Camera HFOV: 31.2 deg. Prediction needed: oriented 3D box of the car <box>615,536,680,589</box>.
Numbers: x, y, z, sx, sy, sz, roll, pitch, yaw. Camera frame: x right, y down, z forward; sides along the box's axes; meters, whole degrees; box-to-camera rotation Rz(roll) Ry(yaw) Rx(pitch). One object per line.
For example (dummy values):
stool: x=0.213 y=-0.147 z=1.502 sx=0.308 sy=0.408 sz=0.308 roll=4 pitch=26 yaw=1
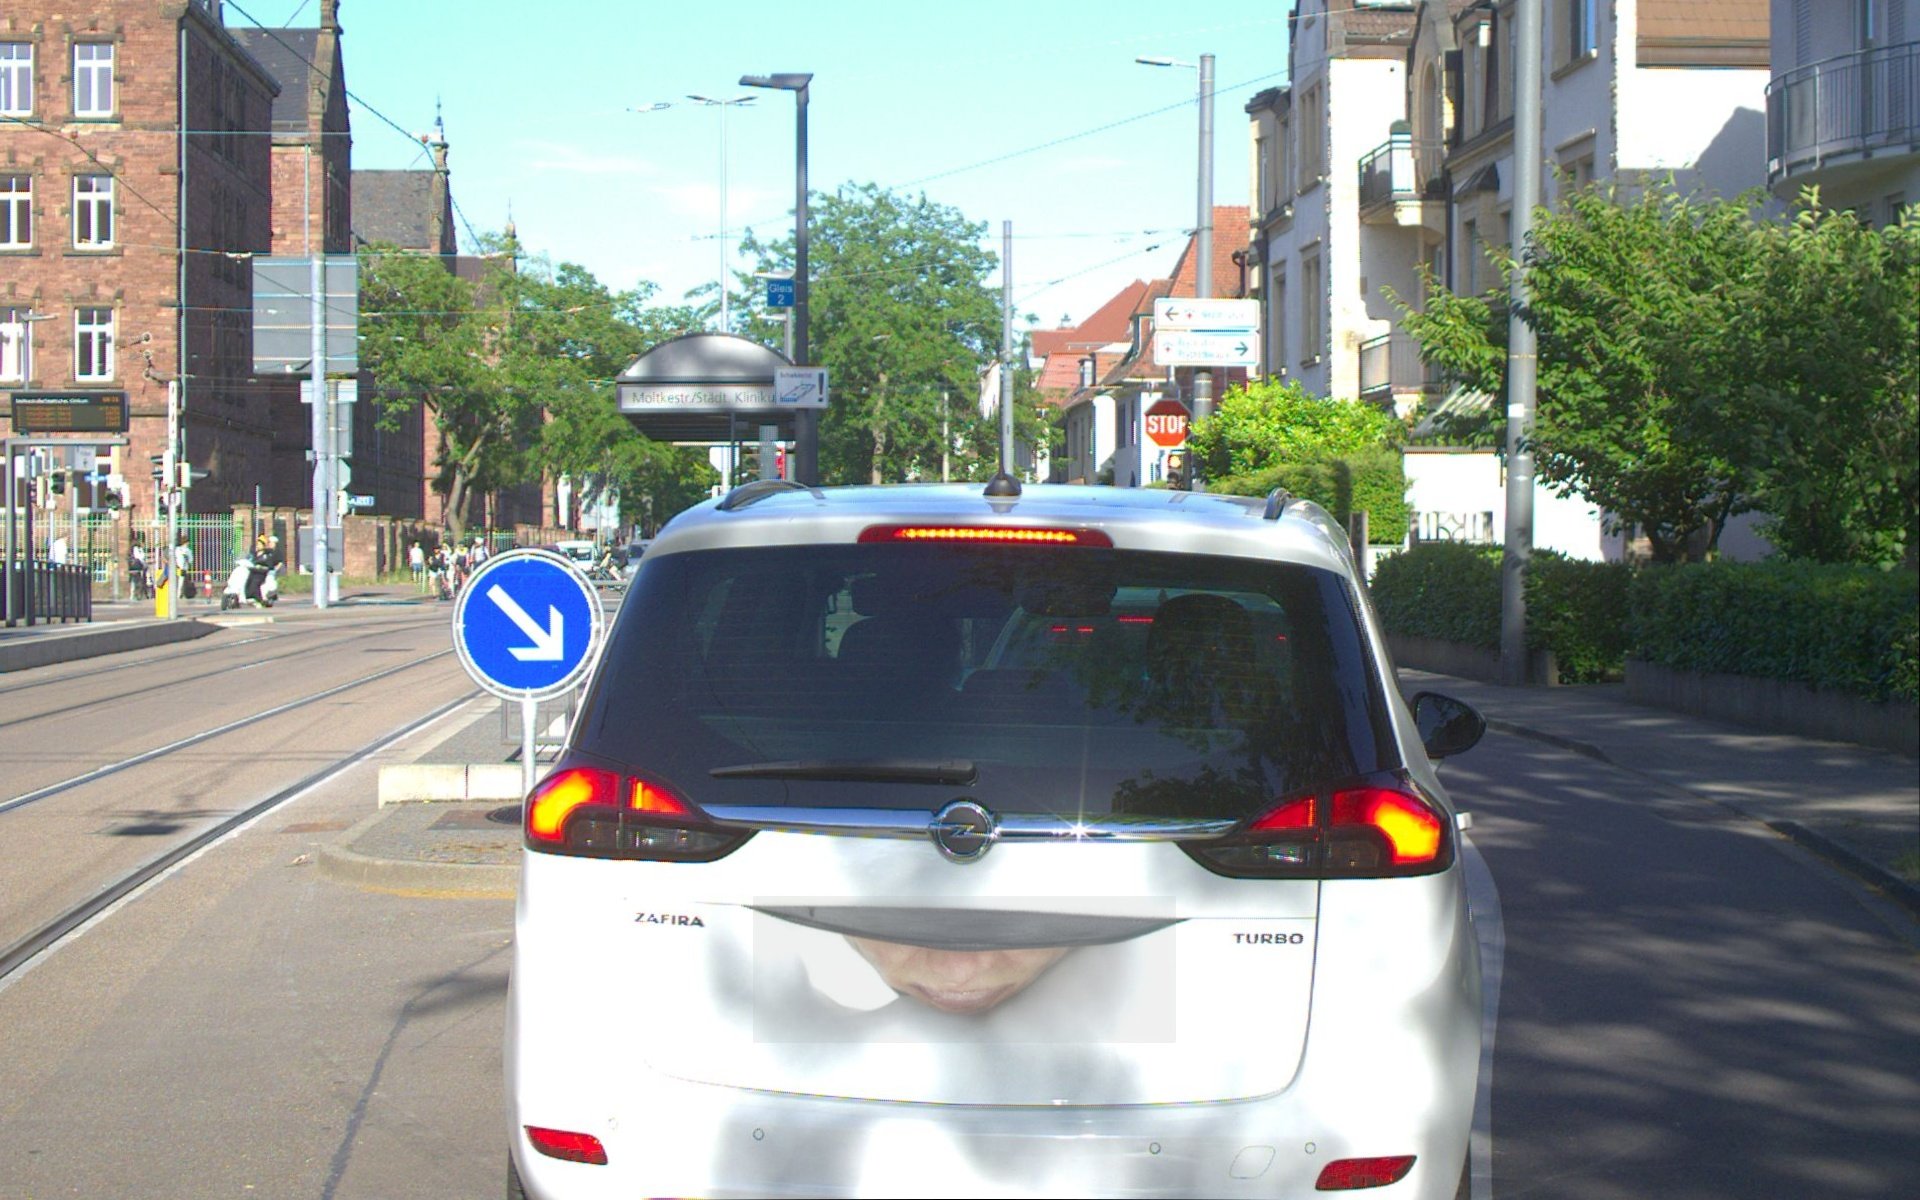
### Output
car: x=-9.736 y=-1.191 z=107.304 sx=1.993 sy=1.623 sz=4.001 roll=0 pitch=1 yaw=-5

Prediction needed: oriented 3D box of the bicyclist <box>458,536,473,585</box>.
bicyclist: x=-15.689 y=-1.248 z=109.144 sx=0.444 sy=1.548 sz=0.496 roll=0 pitch=1 yaw=-4

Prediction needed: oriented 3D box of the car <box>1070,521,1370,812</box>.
car: x=1.492 y=0.330 z=20.822 sx=1.637 sy=1.595 sz=3.854 roll=0 pitch=1 yaw=2

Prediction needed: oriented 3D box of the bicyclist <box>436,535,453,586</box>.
bicyclist: x=-15.474 y=-1.187 z=103.277 sx=0.444 sy=1.548 sz=0.743 roll=0 pitch=1 yaw=-4

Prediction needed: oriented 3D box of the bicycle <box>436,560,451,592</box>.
bicycle: x=-15.483 y=-0.719 z=103.076 sx=0.344 sy=0.946 sz=1.160 roll=1 pitch=0 yaw=-4

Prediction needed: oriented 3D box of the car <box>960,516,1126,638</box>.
car: x=1.019 y=-0.320 z=44.293 sx=1.993 sy=1.497 sz=4.000 roll=0 pitch=1 yaw=-1

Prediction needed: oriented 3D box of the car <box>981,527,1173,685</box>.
car: x=1.175 y=0.024 z=36.173 sx=1.830 sy=1.574 sz=4.010 roll=0 pitch=1 yaw=-1

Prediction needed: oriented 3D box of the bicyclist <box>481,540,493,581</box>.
bicyclist: x=-15.349 y=-1.283 z=111.651 sx=0.359 sy=1.299 sz=0.398 roll=0 pitch=1 yaw=-4

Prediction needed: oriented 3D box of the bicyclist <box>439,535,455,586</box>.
bicyclist: x=-15.893 y=-1.225 z=106.559 sx=0.444 sy=1.548 sz=0.496 roll=0 pitch=1 yaw=-4

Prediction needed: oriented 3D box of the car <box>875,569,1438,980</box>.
car: x=0.744 y=0.588 z=13.976 sx=1.953 sy=1.392 sz=4.000 roll=0 pitch=1 yaw=2

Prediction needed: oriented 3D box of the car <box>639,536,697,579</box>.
car: x=-11.080 y=-1.618 z=130.647 sx=1.993 sy=1.623 sz=4.001 roll=0 pitch=1 yaw=-2

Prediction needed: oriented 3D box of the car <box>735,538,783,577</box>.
car: x=-8.537 y=-1.805 z=145.658 sx=1.993 sy=1.623 sz=4.001 roll=0 pitch=1 yaw=-4

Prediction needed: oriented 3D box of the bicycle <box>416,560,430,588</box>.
bicycle: x=-17.986 y=-0.875 z=115.134 sx=0.344 sy=0.946 sz=0.997 roll=1 pitch=0 yaw=-4

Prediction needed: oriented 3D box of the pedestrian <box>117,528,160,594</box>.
pedestrian: x=-21.162 y=-1.006 z=88.543 sx=0.843 sy=1.686 sz=1.029 roll=1 pitch=0 yaw=-1

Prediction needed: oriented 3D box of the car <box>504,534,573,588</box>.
car: x=-13.116 y=-1.228 z=107.081 sx=1.993 sy=1.623 sz=4.001 roll=0 pitch=1 yaw=-5

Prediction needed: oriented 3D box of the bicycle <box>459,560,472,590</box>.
bicycle: x=-15.698 y=-0.783 z=109.159 sx=0.344 sy=0.946 sz=0.997 roll=1 pitch=0 yaw=-4

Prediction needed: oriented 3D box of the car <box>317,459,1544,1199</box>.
car: x=0.136 y=0.581 z=7.596 sx=1.994 sy=1.639 sz=3.992 roll=1 pitch=1 yaw=6

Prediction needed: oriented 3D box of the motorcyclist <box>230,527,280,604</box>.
motorcyclist: x=-14.814 y=-0.726 z=72.253 sx=0.614 sy=1.616 sz=0.843 roll=1 pitch=1 yaw=31

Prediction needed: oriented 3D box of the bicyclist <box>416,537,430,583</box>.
bicyclist: x=-17.982 y=-1.341 z=115.090 sx=0.444 sy=1.548 sz=0.496 roll=0 pitch=1 yaw=-4

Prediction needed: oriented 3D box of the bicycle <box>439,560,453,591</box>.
bicycle: x=-15.929 y=-0.761 z=106.609 sx=0.344 sy=0.946 sz=0.997 roll=1 pitch=0 yaw=-4

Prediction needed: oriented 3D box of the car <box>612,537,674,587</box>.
car: x=-10.533 y=-1.274 z=114.411 sx=1.993 sy=1.623 sz=4.001 roll=0 pitch=1 yaw=-5

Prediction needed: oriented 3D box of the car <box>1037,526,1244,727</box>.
car: x=1.493 y=0.178 z=29.250 sx=1.637 sy=1.595 sz=3.854 roll=0 pitch=1 yaw=2

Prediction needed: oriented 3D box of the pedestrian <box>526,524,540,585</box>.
pedestrian: x=-13.907 y=-1.480 z=111.929 sx=0.444 sy=2.007 sz=0.496 roll=0 pitch=1 yaw=-4

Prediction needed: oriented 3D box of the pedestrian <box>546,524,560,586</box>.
pedestrian: x=-13.293 y=-1.475 z=112.248 sx=0.444 sy=2.007 sz=0.496 roll=0 pitch=1 yaw=-4

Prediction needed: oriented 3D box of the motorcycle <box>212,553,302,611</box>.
motorcycle: x=-14.783 y=-0.395 z=72.315 sx=0.612 sy=1.194 sz=2.072 roll=1 pitch=1 yaw=31

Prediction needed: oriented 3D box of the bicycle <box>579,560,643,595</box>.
bicycle: x=-9.498 y=-0.623 z=93.666 sx=1.670 sy=0.949 sz=0.529 roll=0 pitch=1 yaw=6

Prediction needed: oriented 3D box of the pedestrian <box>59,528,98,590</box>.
pedestrian: x=-22.710 y=-1.057 z=88.582 sx=0.802 sy=1.583 sz=0.935 roll=1 pitch=0 yaw=-3

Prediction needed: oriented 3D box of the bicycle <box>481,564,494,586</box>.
bicycle: x=-15.351 y=-0.820 z=111.662 sx=0.344 sy=0.722 sz=0.997 roll=1 pitch=1 yaw=-4

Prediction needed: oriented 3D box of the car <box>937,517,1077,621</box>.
car: x=0.666 y=-0.489 z=51.754 sx=1.993 sy=1.497 sz=4.000 roll=0 pitch=1 yaw=-1

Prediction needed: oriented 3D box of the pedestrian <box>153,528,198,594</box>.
pedestrian: x=-20.111 y=-0.994 z=88.140 sx=0.895 sy=1.678 sz=1.029 roll=1 pitch=0 yaw=-1

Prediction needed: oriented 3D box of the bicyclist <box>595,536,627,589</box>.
bicyclist: x=-9.507 y=-1.010 z=93.661 sx=0.759 sy=1.425 sz=0.516 roll=1 pitch=0 yaw=6
